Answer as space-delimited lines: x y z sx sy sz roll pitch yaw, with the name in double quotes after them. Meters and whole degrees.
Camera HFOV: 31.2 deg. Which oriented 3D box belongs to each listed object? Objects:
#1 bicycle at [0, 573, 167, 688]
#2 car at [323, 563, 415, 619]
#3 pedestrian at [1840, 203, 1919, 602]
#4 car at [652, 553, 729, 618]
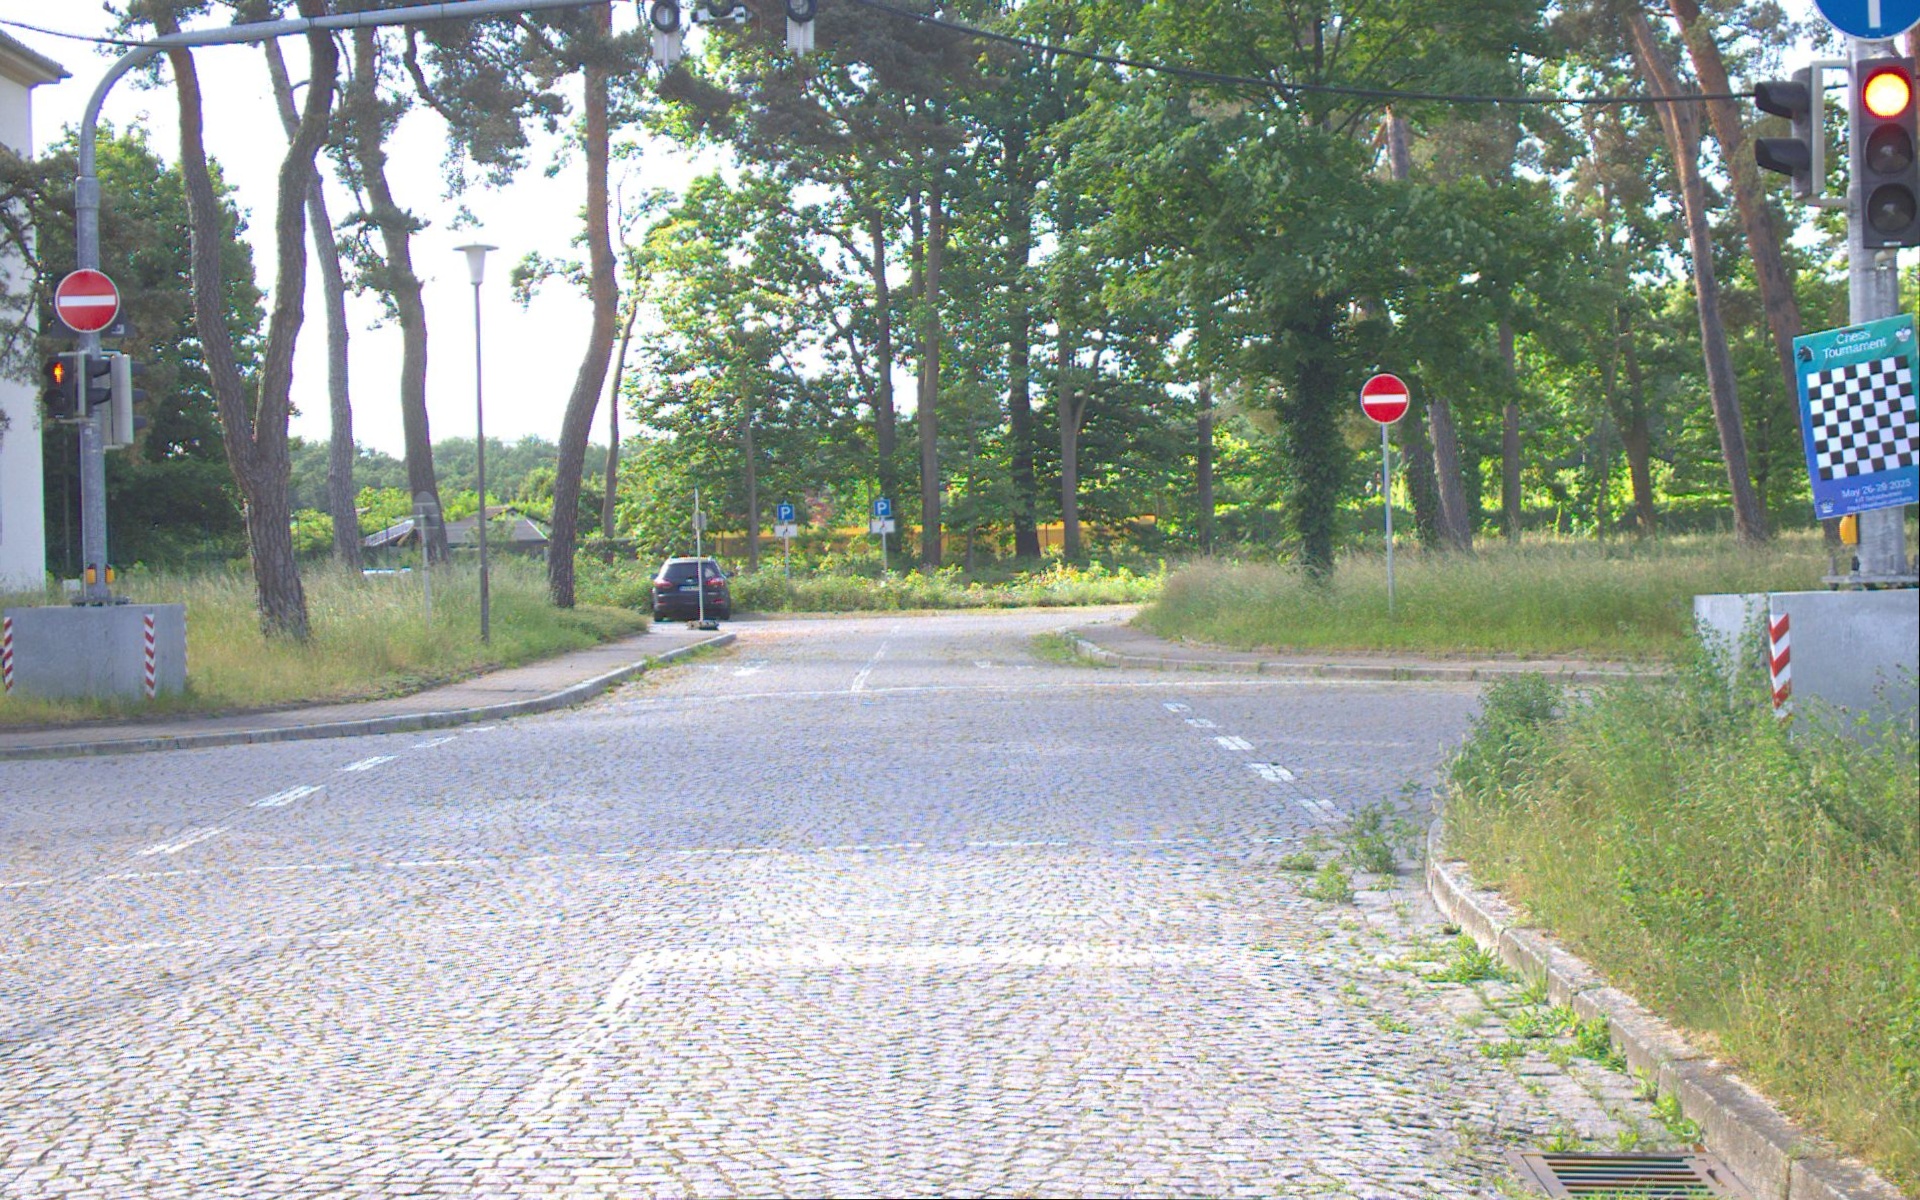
-8.893 0.294 34.240 0.634 1.062 1.946 -1 1 39 "bicycle"
-14.474 -0.236 84.386 1.709 1.269 3.919 -2 1 -3 "car"
4.818 -0.921 15.886 1.170 1.790 1.061 -2 1 29 "pedestrian"
-6.533 -0.369 83.628 1.709 1.491 3.919 -2 1 -3 "car"
